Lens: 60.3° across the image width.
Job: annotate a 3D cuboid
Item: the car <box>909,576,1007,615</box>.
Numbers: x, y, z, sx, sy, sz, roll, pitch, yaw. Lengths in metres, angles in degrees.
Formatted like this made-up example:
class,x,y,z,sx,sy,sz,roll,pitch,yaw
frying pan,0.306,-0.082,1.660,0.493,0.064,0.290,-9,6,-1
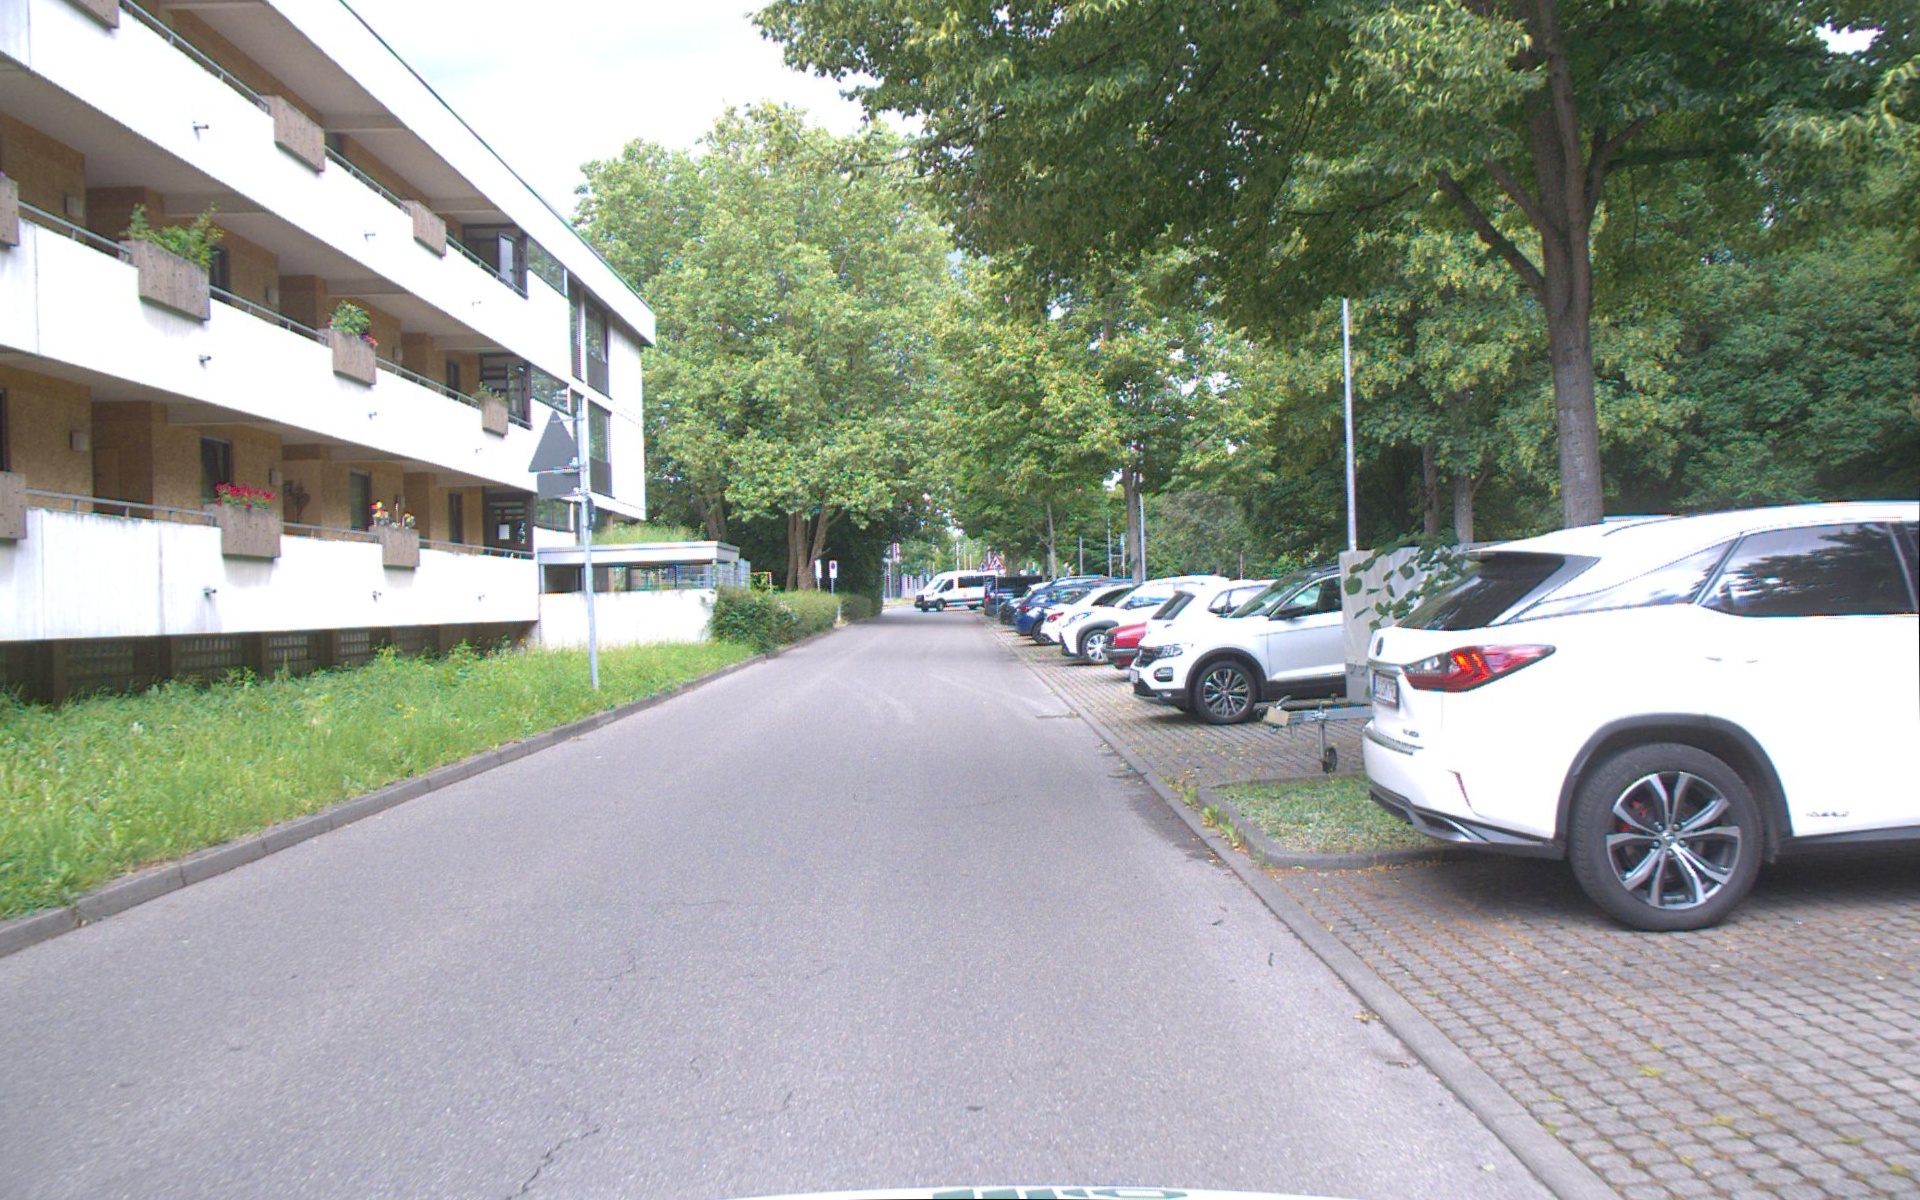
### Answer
class,x,y,z,sx,sy,sz,roll,pitch,yaw
car,-0.080,-0.299,106.939,6.195,2.519,2.116,0,0,-32

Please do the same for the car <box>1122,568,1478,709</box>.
class,x,y,z,sx,sy,sz,roll,pitch,yaw
car,4.143,0.460,20.517,3.931,1.446,1.790,-3,0,-6

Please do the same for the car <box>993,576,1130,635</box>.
class,x,y,z,sx,sy,sz,roll,pitch,yaw
car,3.344,0.164,55.053,4.326,1.705,2.082,-3,0,-1

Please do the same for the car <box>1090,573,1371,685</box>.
class,x,y,z,sx,sy,sz,roll,pitch,yaw
car,4.129,0.433,25.645,3.973,1.446,1.816,-3,0,-2

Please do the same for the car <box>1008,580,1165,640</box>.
class,x,y,z,sx,sy,sz,roll,pitch,yaw
car,3.765,0.286,49.888,4.541,1.543,1.983,-3,0,1

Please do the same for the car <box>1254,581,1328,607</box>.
class,x,y,z,sx,sy,sz,roll,pitch,yaw
car,20.476,-0.352,102.362,4.299,1.453,1.704,-2,-1,5

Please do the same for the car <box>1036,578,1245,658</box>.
class,x,y,z,sx,sy,sz,roll,pitch,yaw
car,3.954,0.398,36.752,4.394,1.480,1.846,-3,0,-1

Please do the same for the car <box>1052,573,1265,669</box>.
class,x,y,z,sx,sy,sz,roll,pitch,yaw
car,3.647,0.380,30.979,3.761,1.542,1.881,-3,0,2

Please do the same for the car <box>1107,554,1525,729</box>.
class,x,y,z,sx,sy,sz,roll,pitch,yaw
car,3.764,0.426,17.965,4.031,1.575,1.859,-3,0,-4

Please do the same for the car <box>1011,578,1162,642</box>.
class,x,y,z,sx,sy,sz,roll,pitch,yaw
car,3.569,0.284,47.043,3.993,1.543,1.849,-3,0,-5

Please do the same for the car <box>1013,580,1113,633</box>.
class,x,y,z,sx,sy,sz,roll,pitch,yaw
car,3.572,0.214,57.661,3.310,1.602,1.796,-3,0,0

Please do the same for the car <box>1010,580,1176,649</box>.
class,x,y,z,sx,sy,sz,roll,pitch,yaw
car,3.319,0.369,41.914,3.989,1.481,1.851,-3,0,0

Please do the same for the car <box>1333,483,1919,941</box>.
class,x,y,z,sx,sy,sz,roll,pitch,yaw
car,4.292,0.375,7.533,4.718,1.722,1.974,-3,0,2

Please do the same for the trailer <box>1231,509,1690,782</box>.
class,x,y,z,sx,sy,sz,roll,pitch,yaw
trailer,3.781,0.326,12.807,2.970,1.822,1.562,-3,0,-4

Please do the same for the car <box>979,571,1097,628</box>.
class,x,y,z,sx,sy,sz,roll,pitch,yaw
car,3.283,-0.015,70.535,4.853,2.048,2.166,-4,0,1

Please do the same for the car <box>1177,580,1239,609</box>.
class,x,y,z,sx,sy,sz,roll,pitch,yaw
car,15.434,-0.333,102.974,3.699,1.697,1.769,-2,0,7
